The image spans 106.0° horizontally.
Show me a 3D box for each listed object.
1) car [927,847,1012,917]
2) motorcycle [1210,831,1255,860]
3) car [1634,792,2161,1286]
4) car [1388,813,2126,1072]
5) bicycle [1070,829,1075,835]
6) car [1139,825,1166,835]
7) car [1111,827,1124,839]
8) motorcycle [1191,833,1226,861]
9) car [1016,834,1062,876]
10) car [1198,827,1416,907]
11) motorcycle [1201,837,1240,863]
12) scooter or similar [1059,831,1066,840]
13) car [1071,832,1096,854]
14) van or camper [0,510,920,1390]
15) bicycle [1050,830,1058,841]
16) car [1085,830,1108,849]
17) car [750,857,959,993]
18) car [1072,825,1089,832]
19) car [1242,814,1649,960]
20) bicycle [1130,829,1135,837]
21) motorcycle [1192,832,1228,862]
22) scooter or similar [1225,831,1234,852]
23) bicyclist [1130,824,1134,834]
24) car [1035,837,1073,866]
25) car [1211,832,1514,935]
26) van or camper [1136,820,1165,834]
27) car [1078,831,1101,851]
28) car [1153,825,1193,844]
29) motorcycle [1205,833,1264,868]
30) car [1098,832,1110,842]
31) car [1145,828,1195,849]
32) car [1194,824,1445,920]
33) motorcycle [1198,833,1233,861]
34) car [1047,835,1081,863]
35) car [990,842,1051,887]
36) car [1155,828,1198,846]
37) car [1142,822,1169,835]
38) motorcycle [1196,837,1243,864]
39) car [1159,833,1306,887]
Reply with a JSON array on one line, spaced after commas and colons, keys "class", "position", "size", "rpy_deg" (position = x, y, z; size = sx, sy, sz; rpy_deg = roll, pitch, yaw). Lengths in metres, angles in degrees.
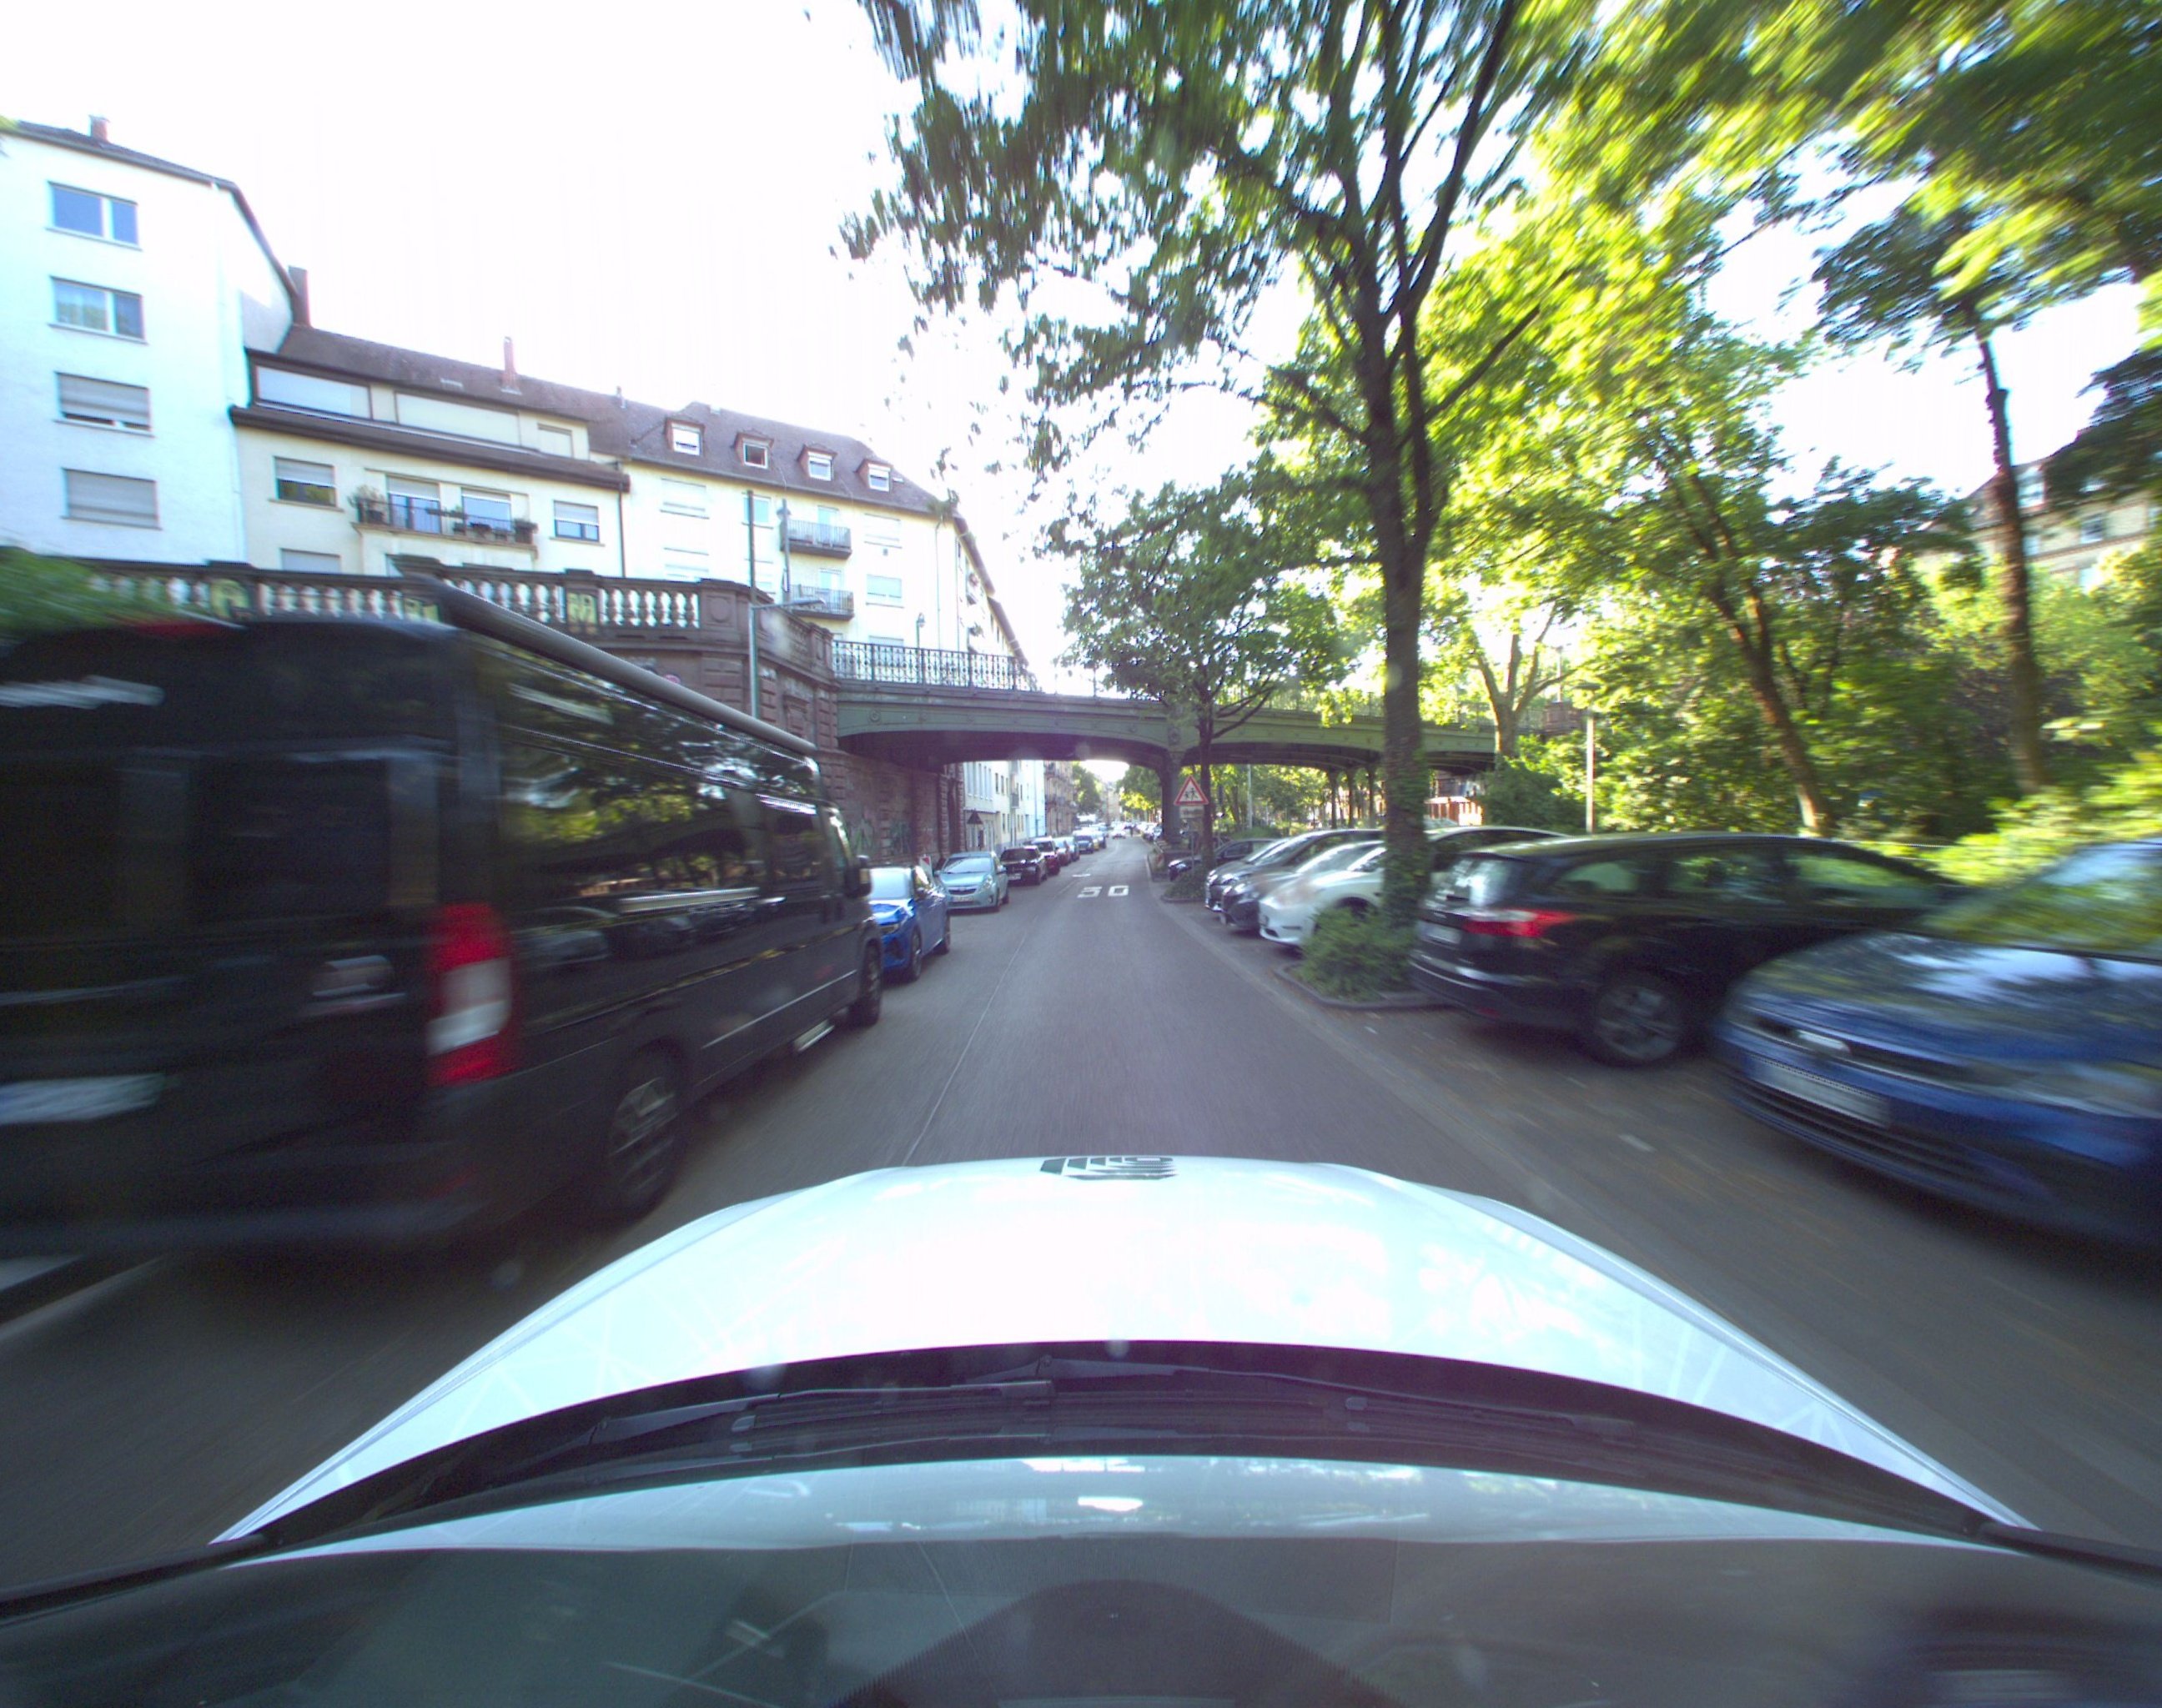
[{"class": "car", "position": [-2.832, 0.655, 21.459], "size": [1.589, 1.547, 3.915], "rpy_deg": [-3, 1, 0]}, {"class": "motorcycle", "position": [6.137, -0.347, 32.963], "size": [1.732, 1.132, 0.705], "rpy_deg": [-1, 0, -32]}, {"class": "car", "position": [4.823, 0.567, 3.384], "size": [3.973, 1.574, 1.587], "rpy_deg": [-1, 0, 1]}, {"class": "car", "position": [4.504, 0.547, 5.868], "size": [4.006, 1.574, 1.587], "rpy_deg": [-1, 0, 1]}, {"class": "bicycle", "position": [-1.490, -3.838, 141.759], "size": [0.702, 1.147, 1.889], "rpy_deg": [-1, 0, 0]}, {"class": "car", "position": [11.725, -3.972, 133.593], "size": [4.197, 1.452, 1.652], "rpy_deg": [-3, 2, 7]}, {"class": "car", "position": [5.043, -2.919, 111.349], "size": [1.661, 1.430, 4.005], "rpy_deg": [-4, 3, 4]}, {"class": "motorcycle", "position": [6.522, -0.355, 41.637], "size": [1.586, 1.408, 0.716], "rpy_deg": [-1, 0, 23]}, {"class": "car", "position": [-1.869, 0.005, 37.274], "size": [1.710, 1.707, 4.324], "rpy_deg": [-3, 2, 1]}, {"class": "car", "position": [5.028, 0.288, 18.637], "size": [4.562, 1.606, 1.738], "rpy_deg": [-2, 0, 6]}, {"class": "motorcycle", "position": [6.266, -0.166, 36.598], "size": [1.602, 1.132, 0.709], "rpy_deg": [-1, 0, -14]}, {"class": "scooter or similar", "position": [-2.650, -2.735, 118.702], "size": [0.780, 1.222, 2.706], "rpy_deg": [-1, 0, 3]}, {"class": "car", "position": [0.214, -0.851, 61.332], "size": [1.559, 1.517, 3.788], "rpy_deg": [-2, 2, 5]}, {"class": "van or camper", "position": [-2.856, 0.247, 5.554], "size": [2.229, 2.523, 6.420], "rpy_deg": [-1, 0, 0]}, {"class": "bicycle", "position": [-3.300, -2.301, 100.684], "size": [0.733, 1.206, 2.517], "rpy_deg": [-1, 3, 4]}, {"class": "car", "position": [1.370, -1.269, 71.679], "size": [1.731, 1.479, 4.006], "rpy_deg": [-3, 2, 4]}, {"class": "car", "position": [-2.893, 0.809, 11.422], "size": [1.739, 1.466, 4.374], "rpy_deg": [-1, 1, -1]}, {"class": "car", "position": [-0.122, -6.066, 193.470], "size": [3.969, 1.706, 2.002], "rpy_deg": [-1, 0, 4]}, {"class": "car", "position": [4.557, 0.391, 10.716], "size": [4.516, 1.696, 1.908], "rpy_deg": [-1, 0, 1]}, {"class": "bicycle", "position": [7.706, -3.137, 122.683], "size": [0.639, 1.100, 1.945], "rpy_deg": [-1, 0, 2]}, {"class": "motorcycle", "position": [6.268, -0.333, 39.613], "size": [1.586, 1.408, 0.716], "rpy_deg": [-1, 0, 23]}, {"class": "scooter or similar", "position": [9.614, -0.807, 52.776], "size": [0.475, 1.298, 1.328], "rpy_deg": [-1, 0, 6]}, {"class": "bicyclist", "position": [7.683, -3.763, 122.686], "size": [0.625, 1.573, 0.802], "rpy_deg": [-1, 0, 2]}, {"class": "car", "position": [-1.426, -0.175, 44.808], "size": [1.682, 1.441, 4.004], "rpy_deg": [-2, 2, 3]}, {"class": "car", "position": [4.455, 0.448, 13.404], "size": [4.359, 1.532, 1.877], "rpy_deg": [-1, 0, 1]}, {"class": "van or camper", "position": [12.446, -4.881, 146.208], "size": [4.964, 2.377, 2.185], "rpy_deg": [-1, 0, 1]}, {"class": "car", "position": [0.707, -1.101, 66.831], "size": [1.696, 1.525, 3.777], "rpy_deg": [-2, 2, 3]}, {"class": "car", "position": [8.899, -1.855, 79.104], "size": [3.766, 1.646, 1.666], "rpy_deg": [-3, 0, 3]}, {"class": "motorcycle", "position": [5.582, -0.128, 29.592], "size": [1.938, 1.238, 0.898], "rpy_deg": [-1, 0, -23]}, {"class": "car", "position": [3.390, -2.555, 120.729], "size": [1.496, 1.434, 2.759], "rpy_deg": [-3, 2, 7]}, {"class": "car", "position": [6.901, -1.184, 63.414], "size": [3.765, 1.401, 1.829], "rpy_deg": [-3, 0, 4]}, {"class": "car", "position": [4.526, 0.320, 15.915], "size": [4.362, 1.708, 1.906], "rpy_deg": [-1, 0, -2]}, {"class": "motorcycle", "position": [6.673, -0.346, 40.509], "size": [1.586, 1.408, 0.716], "rpy_deg": [-1, 0, 23]}, {"class": "car", "position": [-1.008, -0.356, 49.717], "size": [1.629, 1.466, 4.005], "rpy_deg": [-5, 2, 4]}, {"class": "car", "position": [-2.260, 0.359, 31.377], "size": [1.709, 1.464, 4.005], "rpy_deg": [-3, 2, 4]}, {"class": "car", "position": [8.655, -1.524, 73.515], "size": [3.760, 1.446, 1.668], "rpy_deg": [-2, 0, 8]}, {"class": "car", "position": [11.808, -4.017, 129.240], "size": [4.201, 1.863, 1.764], "rpy_deg": [-3, 2, 3]}, {"class": "motorcycle", "position": [5.994, -0.151, 35.325], "size": [1.838, 1.132, 0.845], "rpy_deg": [-1, 0, -21]}, {"class": "car", "position": [4.721, 0.177, 25.751], "size": [4.359, 1.577, 1.675], "rpy_deg": [-1, 0, 1]}]
